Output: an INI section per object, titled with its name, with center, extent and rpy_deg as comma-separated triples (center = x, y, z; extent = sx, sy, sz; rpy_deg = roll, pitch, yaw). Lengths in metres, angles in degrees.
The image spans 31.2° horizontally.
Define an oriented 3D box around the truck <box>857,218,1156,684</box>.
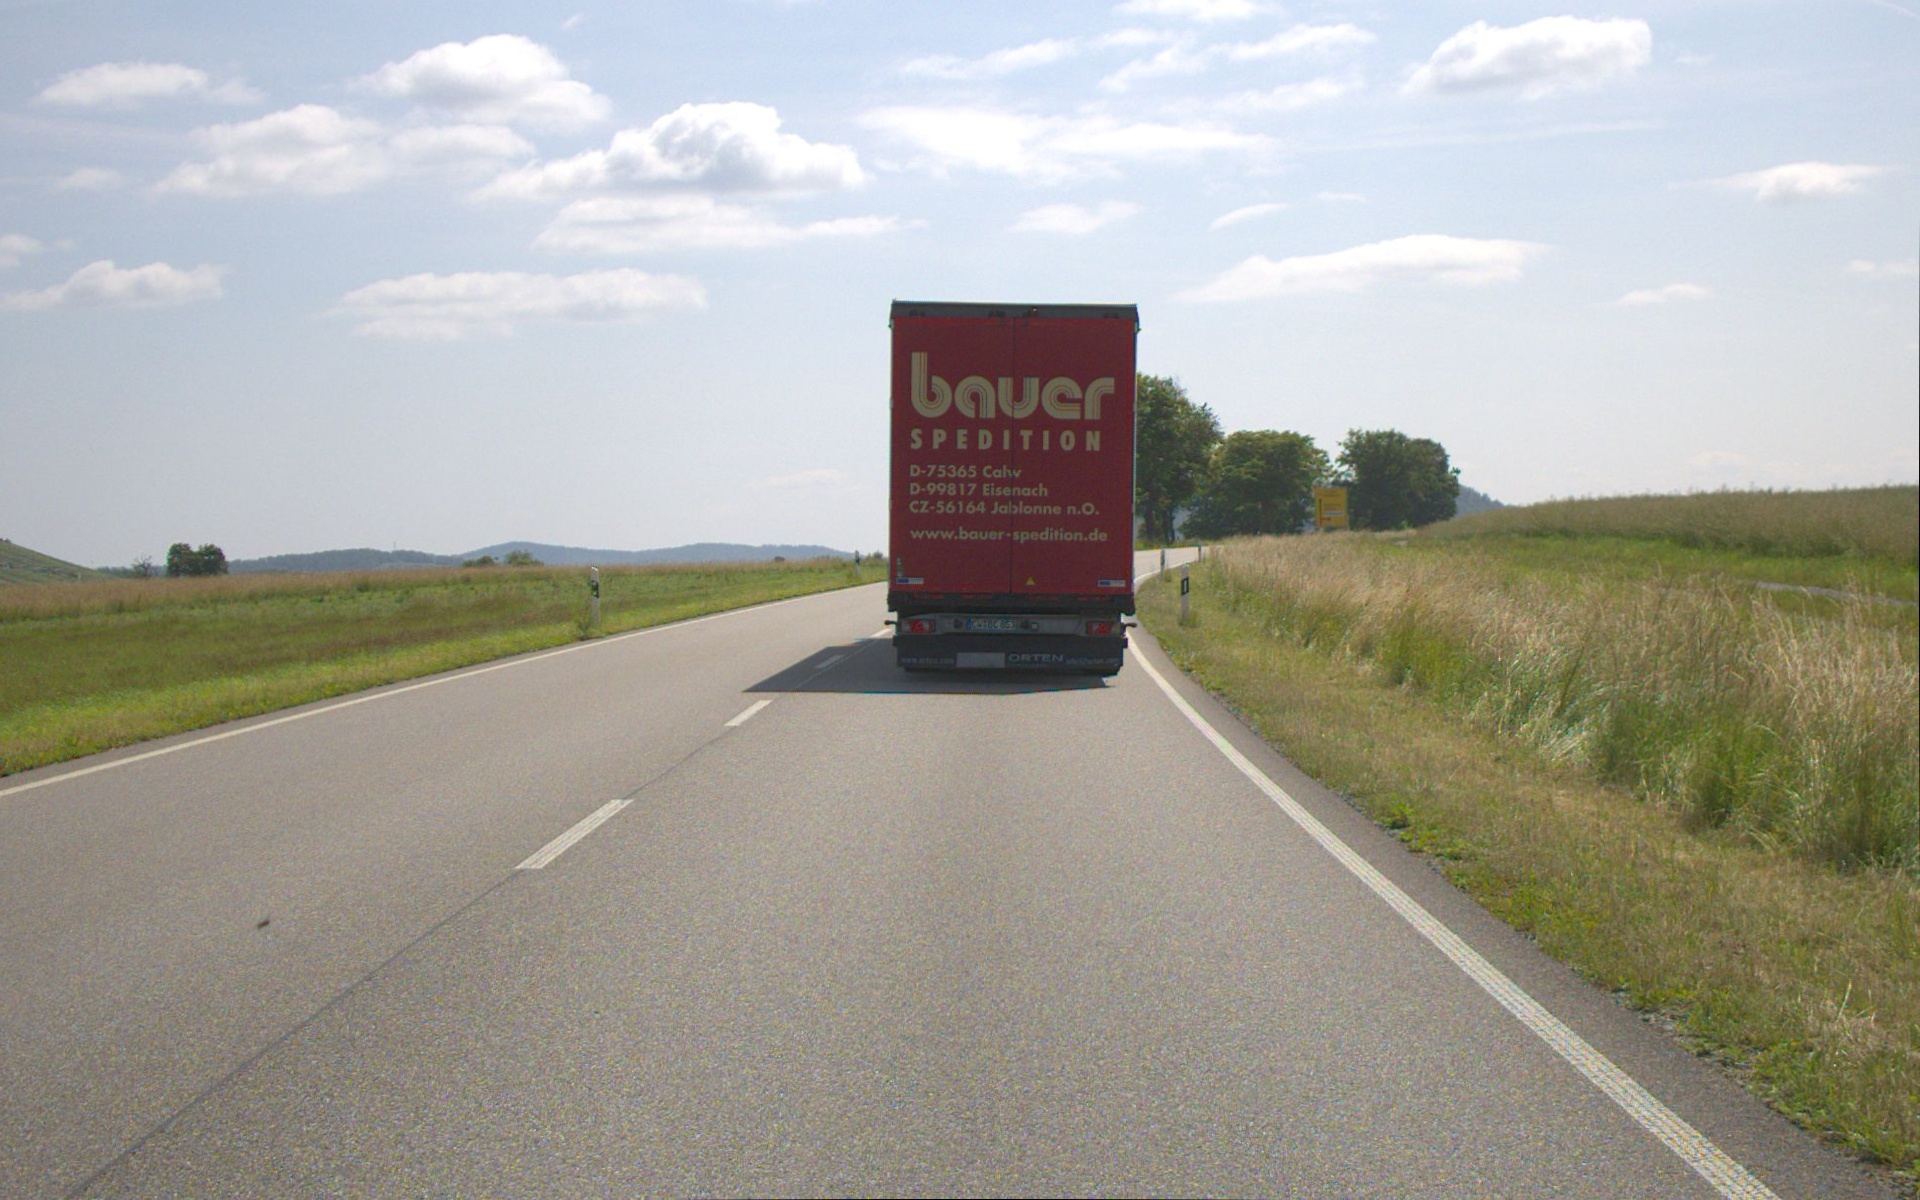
[truck]
center = 0.655, -1.607, 39.535
extent = 2.975, 4.697, 9.366
rpy_deg = 1, 1, 2
